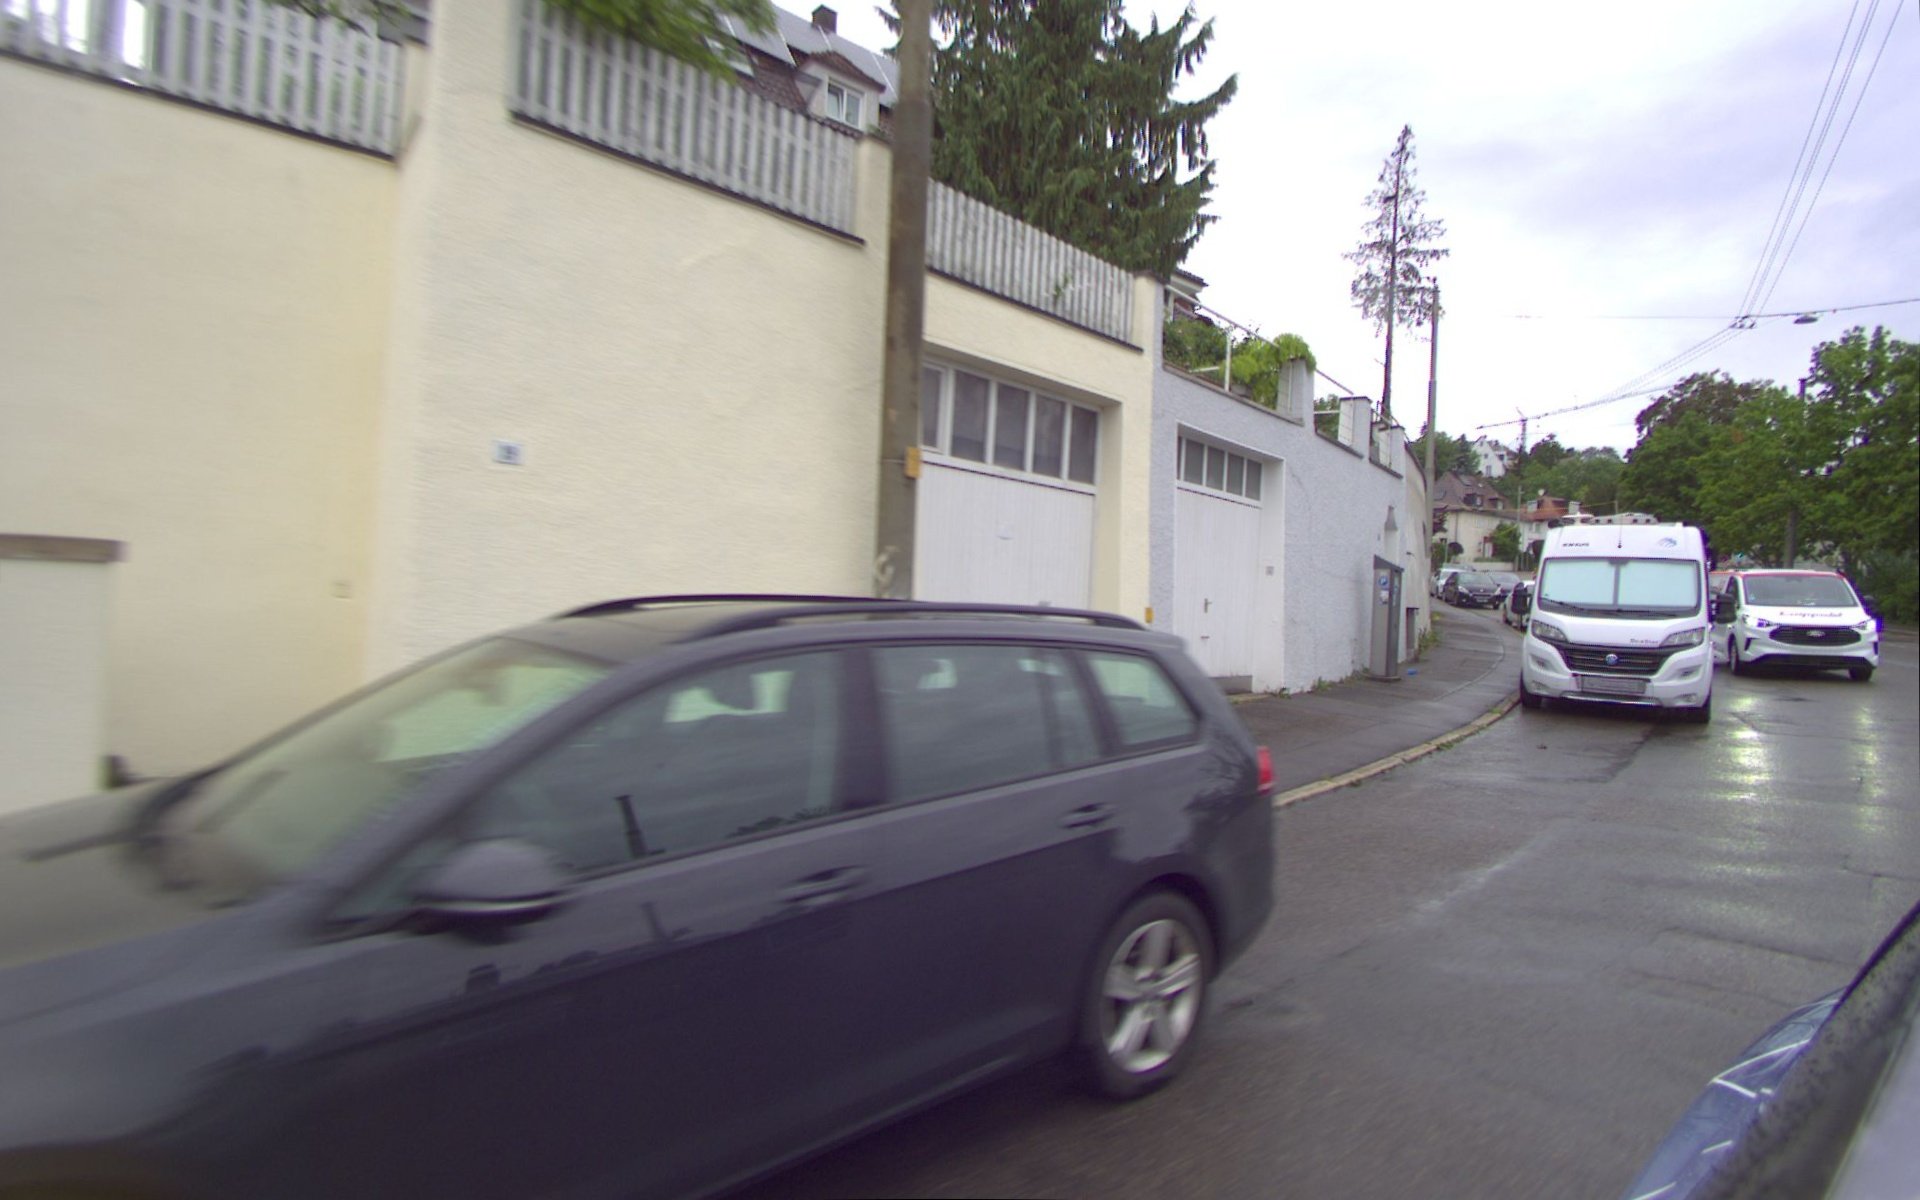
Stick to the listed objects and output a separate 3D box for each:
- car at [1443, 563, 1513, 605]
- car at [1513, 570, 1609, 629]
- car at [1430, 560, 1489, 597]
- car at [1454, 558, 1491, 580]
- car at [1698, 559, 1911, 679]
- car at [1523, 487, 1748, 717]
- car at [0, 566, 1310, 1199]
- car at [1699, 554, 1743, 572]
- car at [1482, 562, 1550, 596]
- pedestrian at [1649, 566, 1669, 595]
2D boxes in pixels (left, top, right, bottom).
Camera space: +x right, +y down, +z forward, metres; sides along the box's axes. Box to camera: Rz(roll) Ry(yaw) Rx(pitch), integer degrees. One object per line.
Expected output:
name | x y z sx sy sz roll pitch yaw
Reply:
car | 21.708 -0.718 42.536 1.695 1.531 3.984 3 4 15
car | 17.502 -0.081 29.644 1.691 1.431 4.015 3 4 21
car | 23.451 -1.052 47.634 1.764 1.437 4.407 4 4 18
car | 44.633 -2.736 88.101 1.801 1.746 4.513 6 6 39
car | 15.708 0.266 19.139 2.022 1.963 4.475 0 1 26
car | 9.478 -0.106 14.208 2.093 2.573 5.550 4 4 35
car | -0.884 0.686 2.856 4.127 1.502 1.682 -1 1 -40
car | 83.325 -4.020 110.768 4.370 1.822 1.816 0 4 -23
car | 27.477 -1.075 50.134 1.963 1.453 4.494 2 4 16
pedestrian | 44.924 -1.249 65.039 0.674 1.839 1.149 2 2 18
